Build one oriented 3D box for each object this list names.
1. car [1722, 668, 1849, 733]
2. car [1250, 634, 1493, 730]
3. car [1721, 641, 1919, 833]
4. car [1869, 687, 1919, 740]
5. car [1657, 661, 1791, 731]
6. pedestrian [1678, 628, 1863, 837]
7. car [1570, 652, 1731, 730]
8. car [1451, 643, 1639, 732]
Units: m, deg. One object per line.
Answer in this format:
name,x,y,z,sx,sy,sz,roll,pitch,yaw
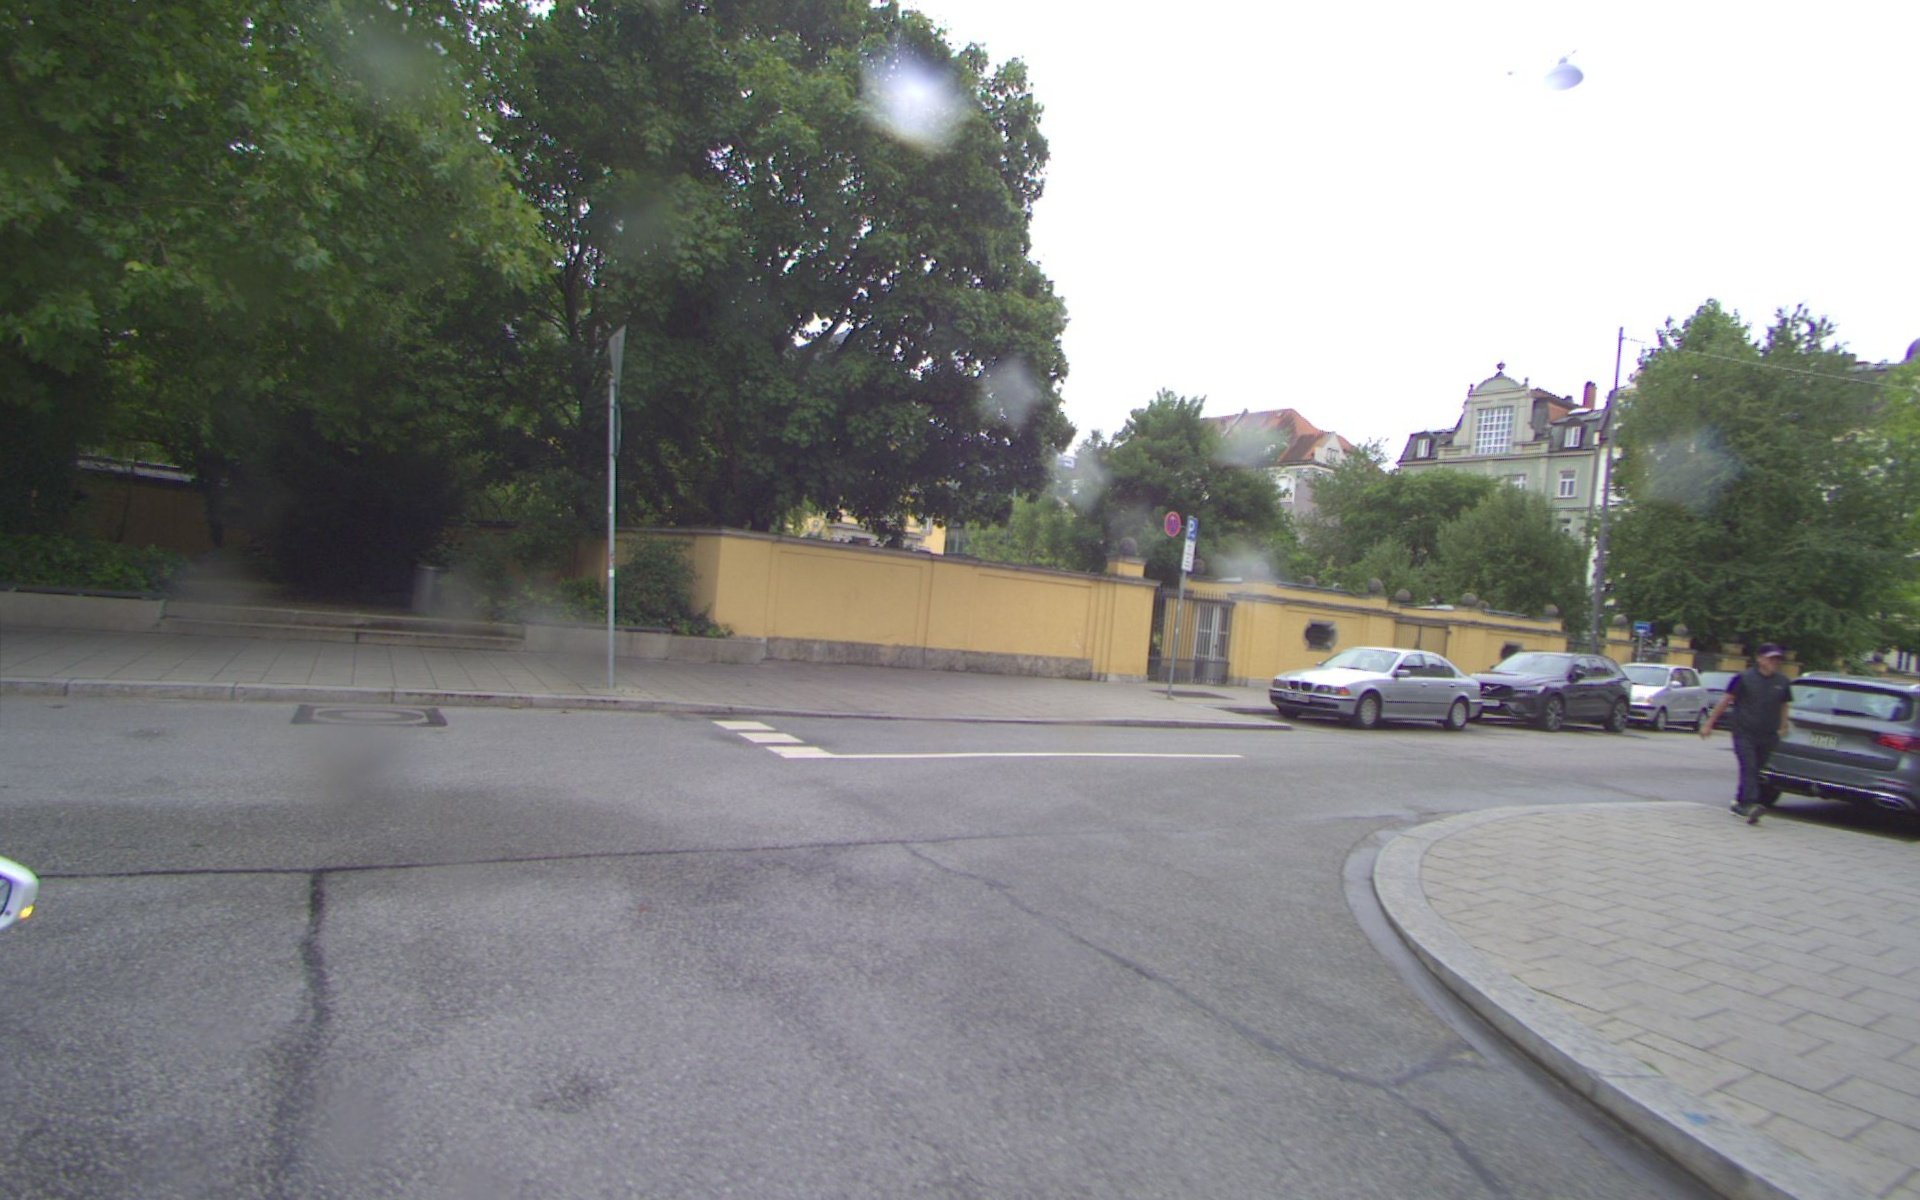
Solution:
car,23.498,2.865,28.632,3.270,1.566,1.781,5,0,-33
car,7.539,1.510,18.310,4.418,1.386,1.786,5,0,-32
car,11.141,1.587,12.027,4.207,1.818,1.876,5,0,-34
car,32.345,3.861,33.832,3.270,1.566,1.781,5,0,-33
car,20.506,2.589,26.987,3.270,1.566,1.781,5,0,-33
pedestrian,7.802,1.222,9.756,0.981,1.824,0.929,5,1,17
car,16.805,2.220,24.450,3.916,1.566,1.781,5,0,-33
car,12.407,1.868,21.292,3.916,1.566,1.781,5,0,-33
